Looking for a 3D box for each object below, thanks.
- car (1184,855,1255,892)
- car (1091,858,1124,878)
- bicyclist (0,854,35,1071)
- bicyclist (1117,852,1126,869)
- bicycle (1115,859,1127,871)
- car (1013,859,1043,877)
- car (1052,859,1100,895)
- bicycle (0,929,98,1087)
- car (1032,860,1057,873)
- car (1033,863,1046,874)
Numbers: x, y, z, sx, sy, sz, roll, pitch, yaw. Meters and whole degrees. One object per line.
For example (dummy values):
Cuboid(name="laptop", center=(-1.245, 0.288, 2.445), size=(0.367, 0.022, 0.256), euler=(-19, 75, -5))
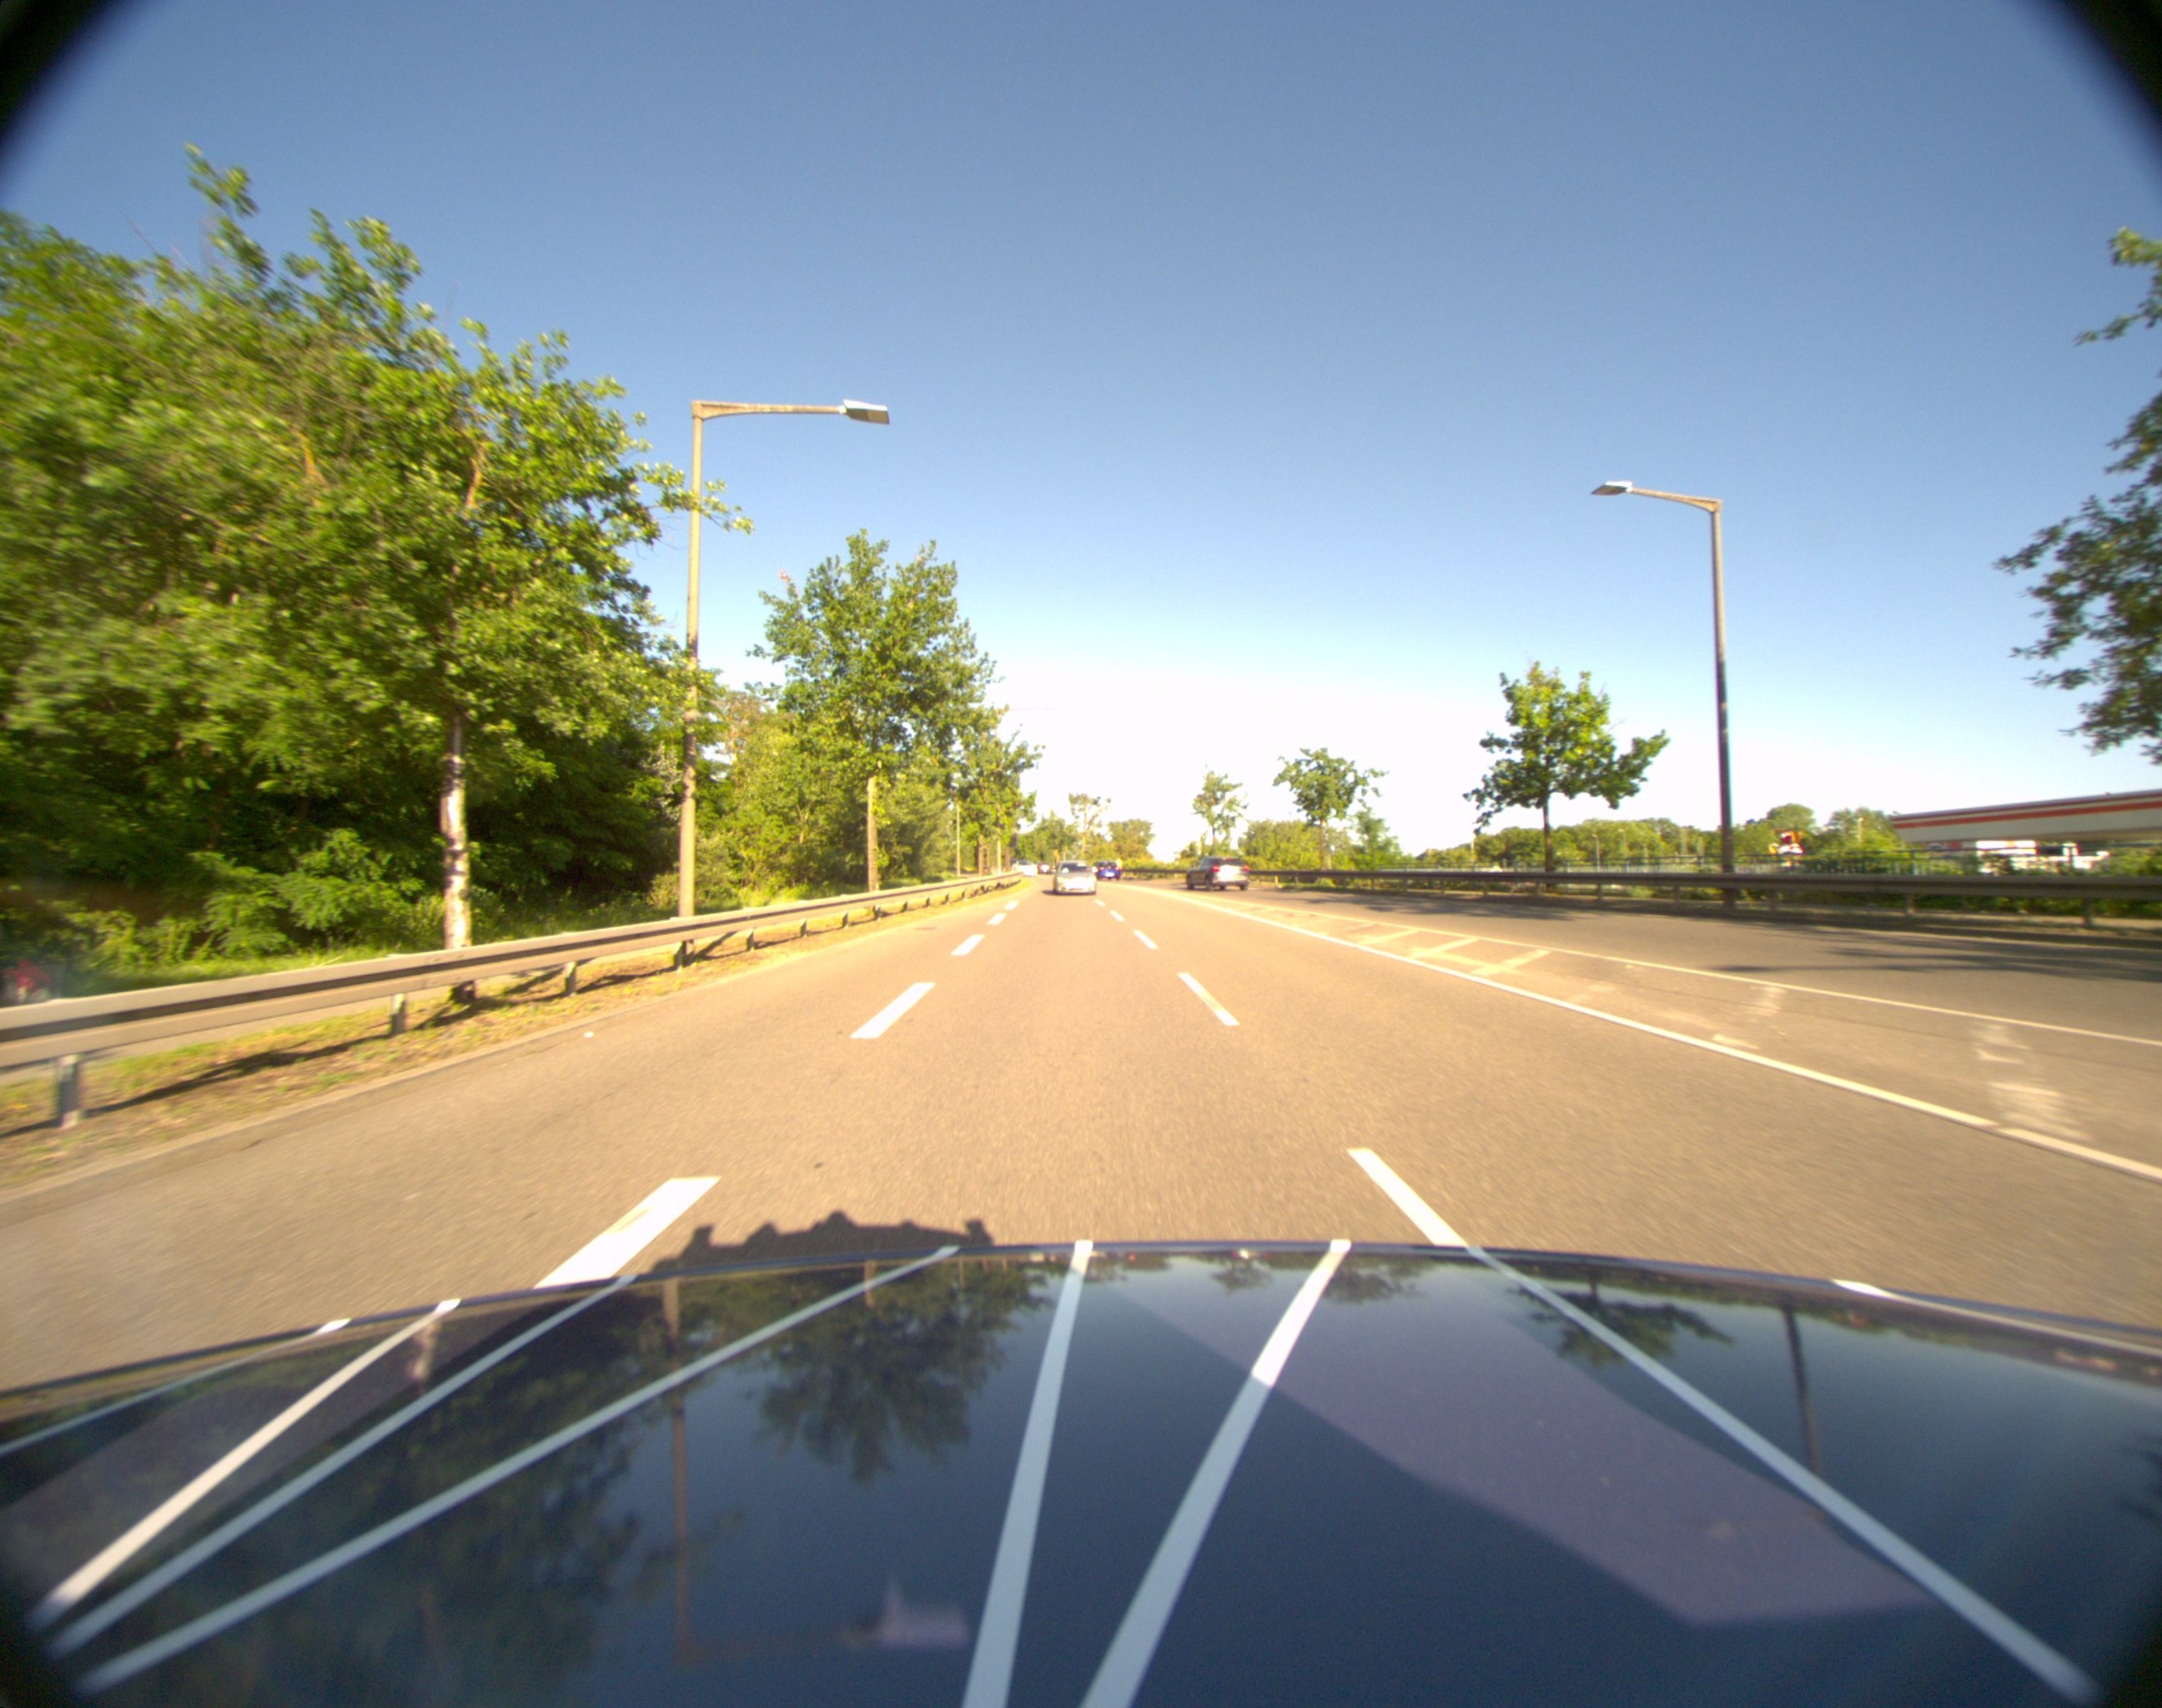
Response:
Cuboid(name="car", center=(6.054, 0.817, 33.736), size=(1.768, 1.480, 4.273), euler=(-2, 0, -9))
Cuboid(name="car", center=(1.896, 1.012, 56.097), size=(1.670, 1.437, 3.846), euler=(0, 0, -10))
Cuboid(name="bicyclist", center=(-8.204, 0.779, 5.191), size=(0.709, 1.569, 1.005), euler=(1, 0, 3))
Cuboid(name="bicyclist", center=(3.832, 0.624, 71.878), size=(0.654, 1.614, 0.873), euler=(1, 0, -12))
Cuboid(name="bicycle", center=(3.766, 1.039, 72.112), size=(0.662, 1.089, 2.106), euler=(1, 0, -11))
Cuboid(name="car", center=(-4.950, 1.245, 70.334), size=(2.152, 1.558, 4.193), euler=(2, -1, -13))
Cuboid(name="car", center=(-0.256, 0.966, 32.694), size=(1.684, 1.432, 3.857), euler=(1, -1, -6))
Cuboid(name="bicycle", center=(-8.212, 1.164, 5.081), size=(0.702, 1.068, 1.921), euler=(1, 2, 2))
Cuboid(name="car", center=(-4.183, 1.422, 86.490), size=(1.816, 1.487, 4.362), euler=(1, -1, -17))
Cuboid(name="car", center=(-6.397, 2.182, 117.105), size=(1.684, 1.694, 3.603), euler=(1, -1, -8))
